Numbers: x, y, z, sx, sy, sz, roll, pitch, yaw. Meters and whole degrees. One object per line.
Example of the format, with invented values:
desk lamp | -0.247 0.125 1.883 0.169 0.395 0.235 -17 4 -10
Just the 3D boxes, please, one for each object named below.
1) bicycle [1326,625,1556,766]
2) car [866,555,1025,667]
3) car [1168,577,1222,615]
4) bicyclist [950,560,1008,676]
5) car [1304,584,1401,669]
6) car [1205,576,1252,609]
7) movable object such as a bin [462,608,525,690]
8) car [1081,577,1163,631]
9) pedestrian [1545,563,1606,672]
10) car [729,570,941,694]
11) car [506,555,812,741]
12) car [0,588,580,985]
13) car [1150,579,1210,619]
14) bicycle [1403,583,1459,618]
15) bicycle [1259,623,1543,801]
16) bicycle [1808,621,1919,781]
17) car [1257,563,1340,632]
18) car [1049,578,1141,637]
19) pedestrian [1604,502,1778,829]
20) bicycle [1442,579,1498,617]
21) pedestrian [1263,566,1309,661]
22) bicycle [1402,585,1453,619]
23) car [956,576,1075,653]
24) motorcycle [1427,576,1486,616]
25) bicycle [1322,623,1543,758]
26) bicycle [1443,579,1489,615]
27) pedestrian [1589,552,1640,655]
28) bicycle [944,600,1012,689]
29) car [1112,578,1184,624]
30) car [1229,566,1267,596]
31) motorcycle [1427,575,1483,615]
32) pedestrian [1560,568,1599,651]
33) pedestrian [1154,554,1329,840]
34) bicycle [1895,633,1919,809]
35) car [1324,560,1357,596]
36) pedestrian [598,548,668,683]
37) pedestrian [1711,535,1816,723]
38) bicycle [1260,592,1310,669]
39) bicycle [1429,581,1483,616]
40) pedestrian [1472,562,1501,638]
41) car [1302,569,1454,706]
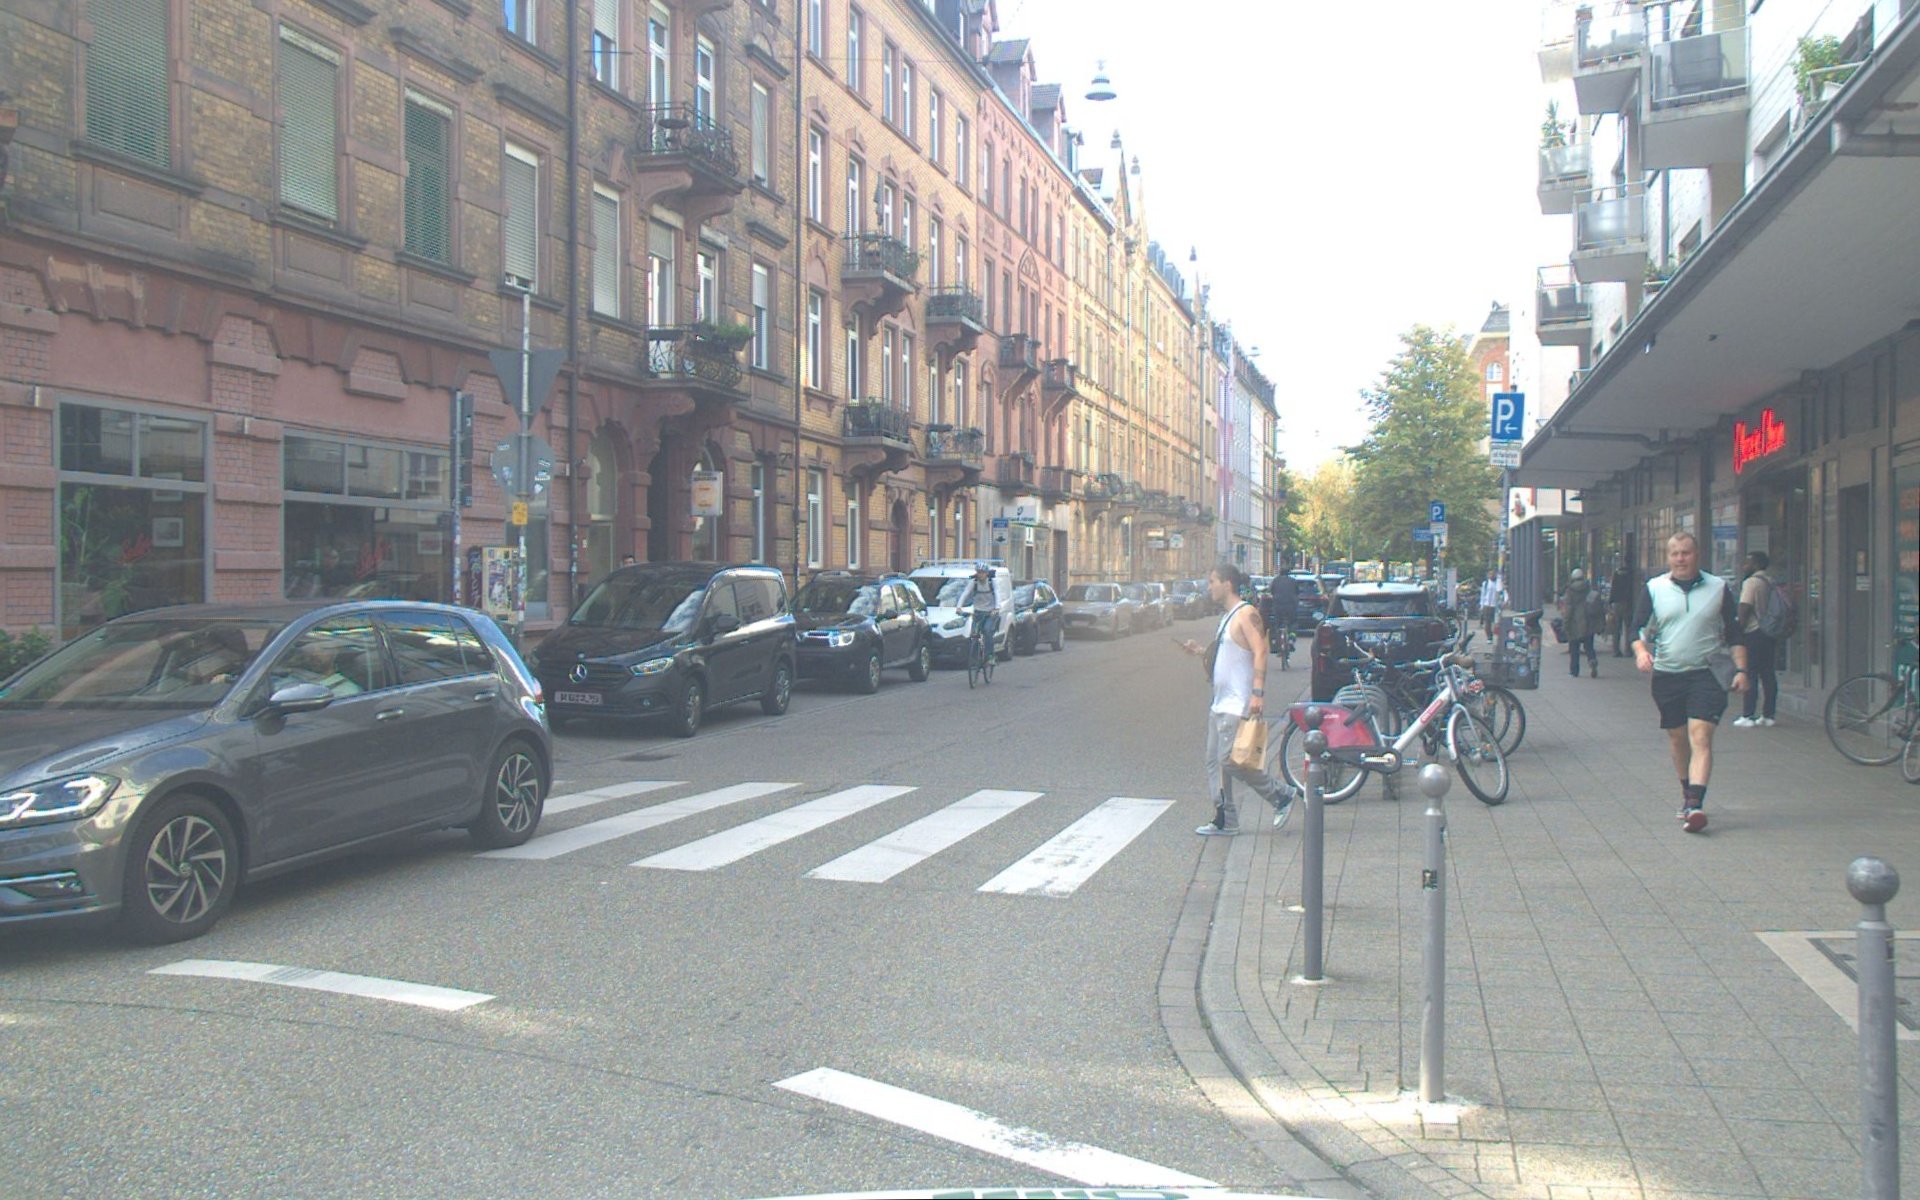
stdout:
bicycle | 4.011 0.795 13.870 1.750 1.089 0.569 -2 1 6
car | -0.178 0.138 30.823 1.879 1.904 4.441 1 1 14
car | 9.677 -0.177 67.959 1.654 1.462 3.870 1 1 16
bicyclist | 0.298 0.258 24.965 0.685 1.707 1.113 0 1 10
car | 7.520 0.457 31.464 1.562 1.464 4.033 0 1 16
car | 12.654 -0.369 77.766 1.655 1.393 3.870 5 2 16
movable object such as a bin | -4.336 0.446 15.383 0.375 0.726 0.476 1 1 11
car | 4.872 0.083 49.314 1.705 1.509 3.986 1 1 16
pedestrian | 9.297 0.256 25.012 0.806 1.616 0.781 0 0 17
car | -1.774 0.401 24.923 1.951 1.666 4.149 1 1 14
car | -3.265 0.432 18.891 1.722 1.804 4.410 2 2 14
car | -3.705 0.695 8.302 1.753 1.463 4.003 -1 0 16
car | 8.311 -0.058 62.170 1.654 1.411 3.870 1 1 16
bicycle | 15.847 0.016 55.648 1.728 1.075 0.412 -2 0 11
bicycle | 3.107 0.788 11.770 1.842 1.145 0.908 -2 0 14
bicycle | 6.927 0.709 12.208 0.725 1.033 1.785 -2 0 13
car | 9.296 -0.080 45.212 1.923 1.771 4.044 1 1 16
car | 3.699 0.170 44.837 1.705 1.509 3.986 1 1 16
pedestrian | 4.440 0.381 10.096 0.866 1.866 1.047 -2 0 23
bicycle | 16.946 -0.068 54.915 1.728 1.182 0.650 -2 1 18
pedestrian | 5.935 0.227 30.079 0.703 1.678 0.931 1 1 16
bicycle | 17.288 0.076 61.108 1.756 1.179 0.500 -2 1 19
car | 1.266 0.276 35.773 1.705 1.509 3.986 2 1 15
motorcycle | 19.196 -0.152 63.927 2.106 1.460 0.765 -2 1 20
bicycle | 4.100 0.782 14.439 1.750 1.089 0.587 -2 1 6
bicycle | 17.337 -0.113 56.708 1.463 1.166 0.412 -2 0 16
pedestrian | 12.165 0.053 30.732 0.698 1.892 0.640 1 1 44
bicycle | 0.293 0.637 24.925 0.685 1.241 2.119 0 1 10
car | 6.125 -0.002 53.641 1.654 1.411 3.870 1 1 16
car | 15.694 -1.037 90.036 1.654 1.577 3.870 1 1 15
motorcycle | 19.996 -0.200 66.837 2.106 1.557 0.686 -2 1 20
pedestrian | 12.254 0.185 32.719 0.630 1.616 0.781 -2 0 17
pedestrian | 1.779 0.575 10.372 0.997 1.700 0.805 0 0 16
bicycle | 6.181 0.730 9.399 0.662 1.061 1.732 0 0 -4
car | 22.638 -1.325 98.331 1.744 2.055 3.891 1 1 14
pedestrian | -4.677 0.205 23.679 0.662 1.872 0.858 3 1 9
pedestrian | 7.882 0.271 16.256 0.698 1.777 0.818 -2 0 13
bicycle | 5.909 0.535 30.013 0.703 1.296 1.885 1 1 16
bicycle | 16.810 -0.054 56.043 1.728 1.106 0.650 -2 1 18
pedestrian | 12.326 -0.014 38.723 0.599 1.756 1.127 0 1 16
car | 5.687 0.434 22.319 1.754 1.633 3.927 -2 0 16
